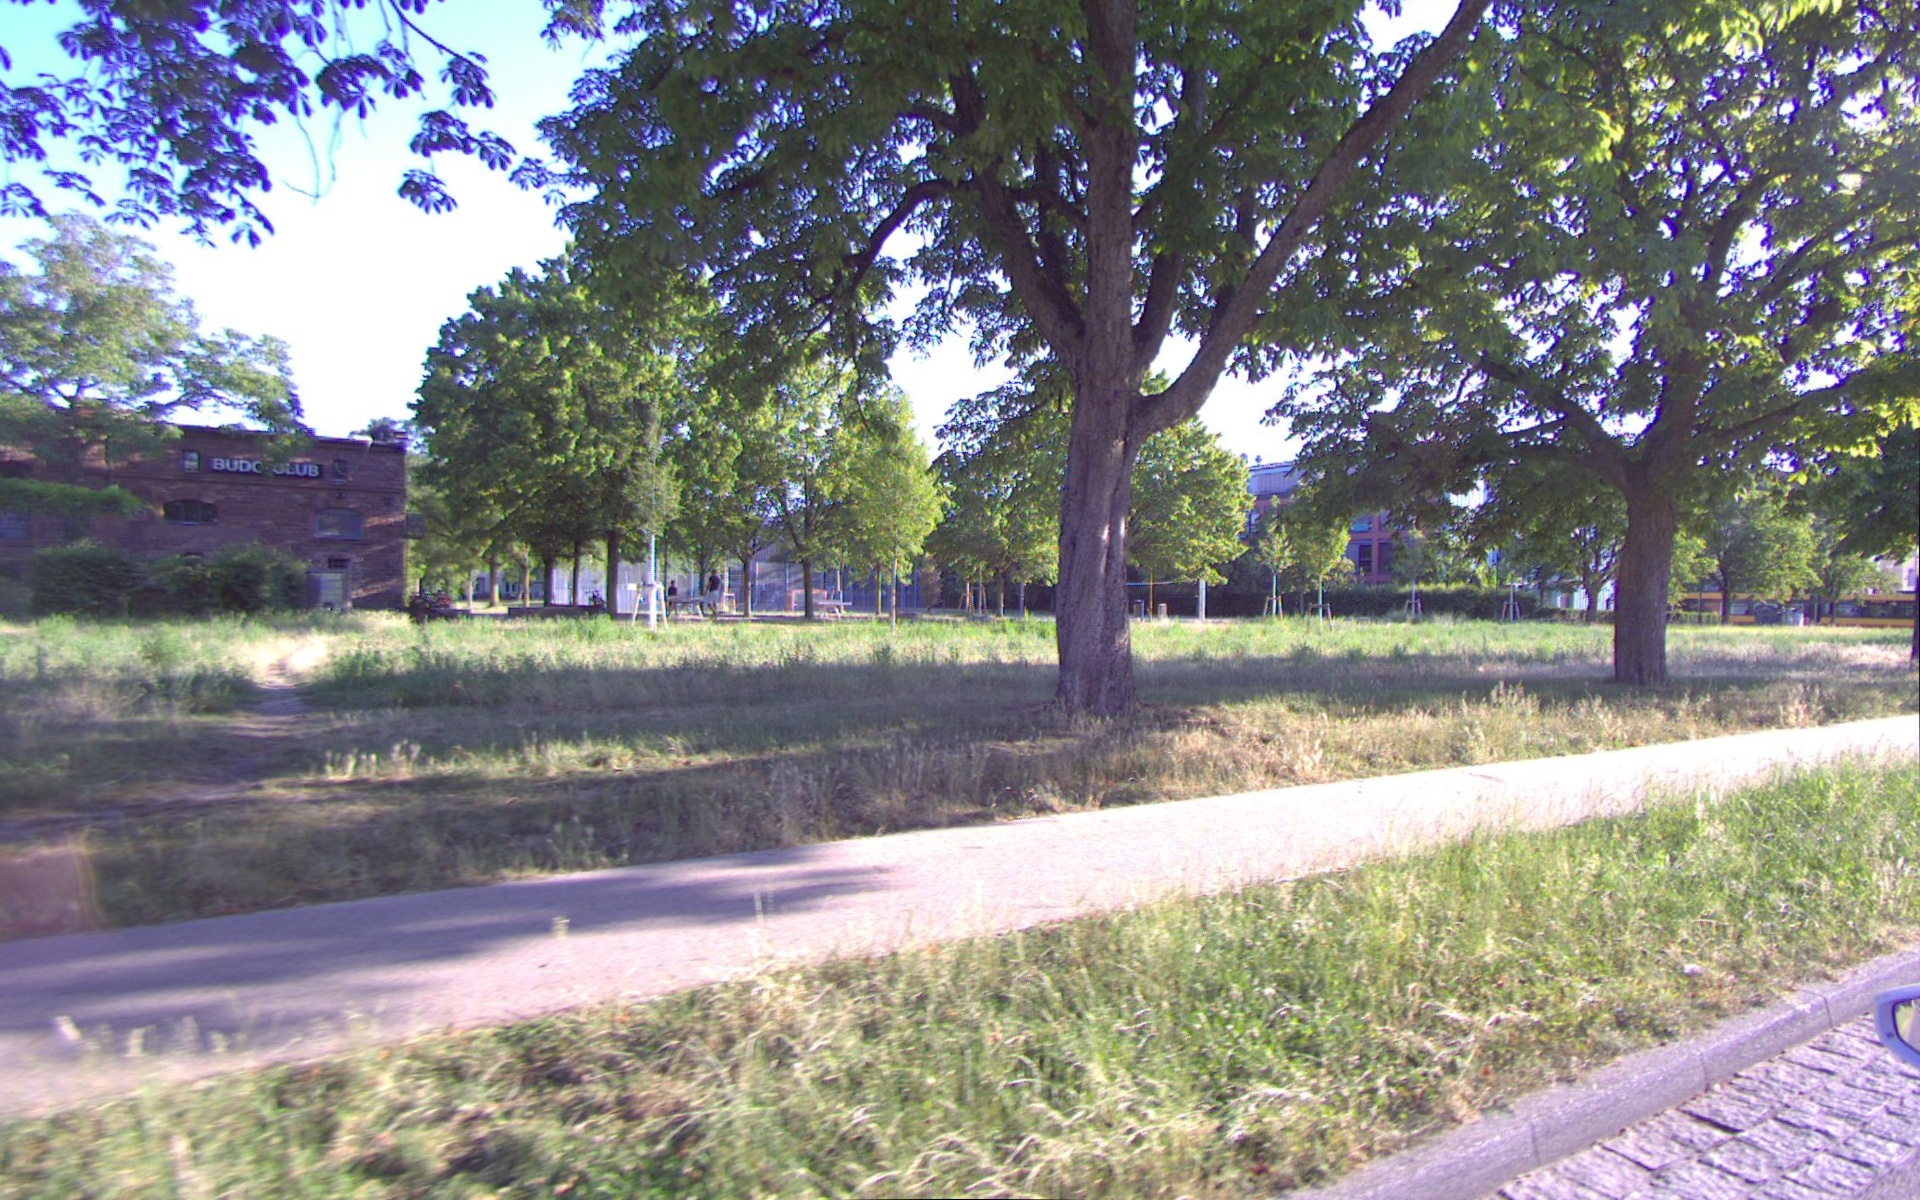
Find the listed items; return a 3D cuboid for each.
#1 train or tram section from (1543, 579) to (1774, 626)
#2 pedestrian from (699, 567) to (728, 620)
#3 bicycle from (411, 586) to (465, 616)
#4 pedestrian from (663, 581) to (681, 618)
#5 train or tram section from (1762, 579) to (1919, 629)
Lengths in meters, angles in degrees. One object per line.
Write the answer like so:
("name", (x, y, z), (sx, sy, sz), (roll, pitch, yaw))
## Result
("train or tram section", (69.955, 0.072, 101.663), (3.612, 4.009, 18.920), (1, 1, -38))
("pedestrian", (-9.077, -0.264, 36.979), (0.787, 1.906, 1.044), (1, 1, -28))
("bicycle", (-23.592, 0.051, 45.429), (2.123, 1.287, 0.681), (1, 1, -29))
("pedestrian", (-12.132, -0.020, 42.312), (0.497, 1.498, 0.583), (1, 2, -40))
("train or tram section", (81.795, 0.400, 86.434), (3.611, 4.009, 19.630), (1, 1, -38))
